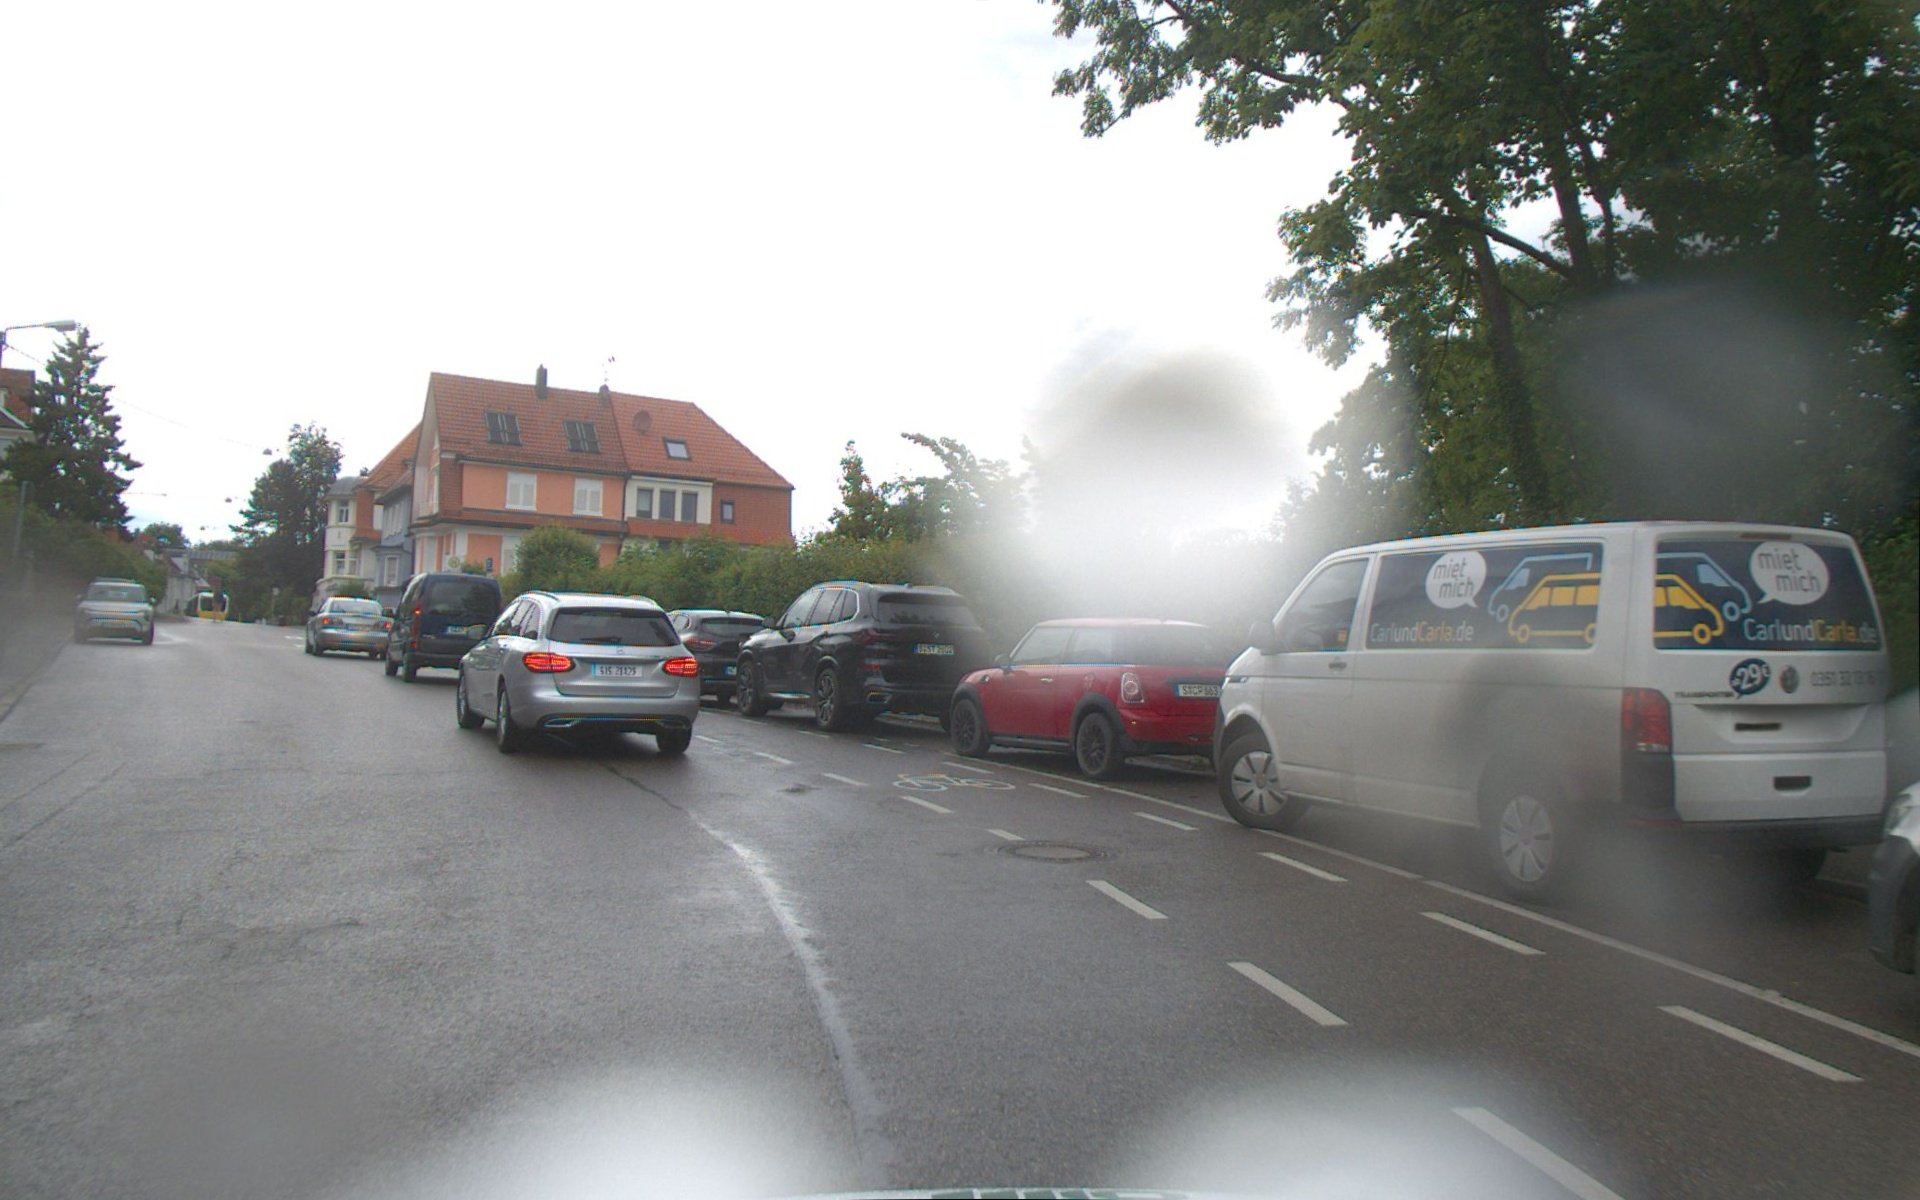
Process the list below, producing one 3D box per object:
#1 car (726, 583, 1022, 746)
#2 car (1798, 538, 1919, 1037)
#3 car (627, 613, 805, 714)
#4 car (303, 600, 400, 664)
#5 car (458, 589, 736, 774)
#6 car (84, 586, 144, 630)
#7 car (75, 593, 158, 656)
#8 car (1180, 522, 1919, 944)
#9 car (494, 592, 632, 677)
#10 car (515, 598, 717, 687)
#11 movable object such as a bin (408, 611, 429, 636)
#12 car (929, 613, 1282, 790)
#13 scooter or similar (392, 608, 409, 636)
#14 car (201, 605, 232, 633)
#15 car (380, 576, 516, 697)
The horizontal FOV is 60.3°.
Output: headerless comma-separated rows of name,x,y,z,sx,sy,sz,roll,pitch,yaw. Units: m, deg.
car,-1.255,0.735,21.141,2.002,1.814,4.858,3,0,-26
car,4.649,0.672,4.632,1.826,1.801,4.367,0,0,-11
car,-3.905,0.955,25.967,1.667,1.447,3.950,3,-2,-25
car,-15.004,0.738,40.643,1.831,1.484,4.060,0,0,-26
car,-3.740,0.733,16.453,1.955,1.581,4.268,2,-1,-22
car,-32.810,0.303,64.224,1.875,1.541,4.305,4,-2,-26
car,-22.702,0.633,44.582,1.875,1.595,4.201,1,0,-27
car,3.330,0.618,10.350,1.833,1.982,4.778,1,0,-21
car,-8.867,0.722,36.669,1.865,1.692,4.506,4,-2,-28
car,-6.672,0.787,31.752,1.788,1.465,4.574,4,-1,-40
movable object such as a bin,-23.113,0.987,70.576,0.703,1.048,0.750,1,0,-28
car,1.287,0.904,16.076,1.652,1.438,3.708,2,-1,-28
scooter or similar,-26.240,1.036,77.534,0.682,1.245,1.292,3,-1,-18
car,-66.680,1.684,148.316,2.437,2.442,3.966,0,0,-26
car,-9.028,0.554,28.953,1.800,1.915,4.065,-1,1,-24
